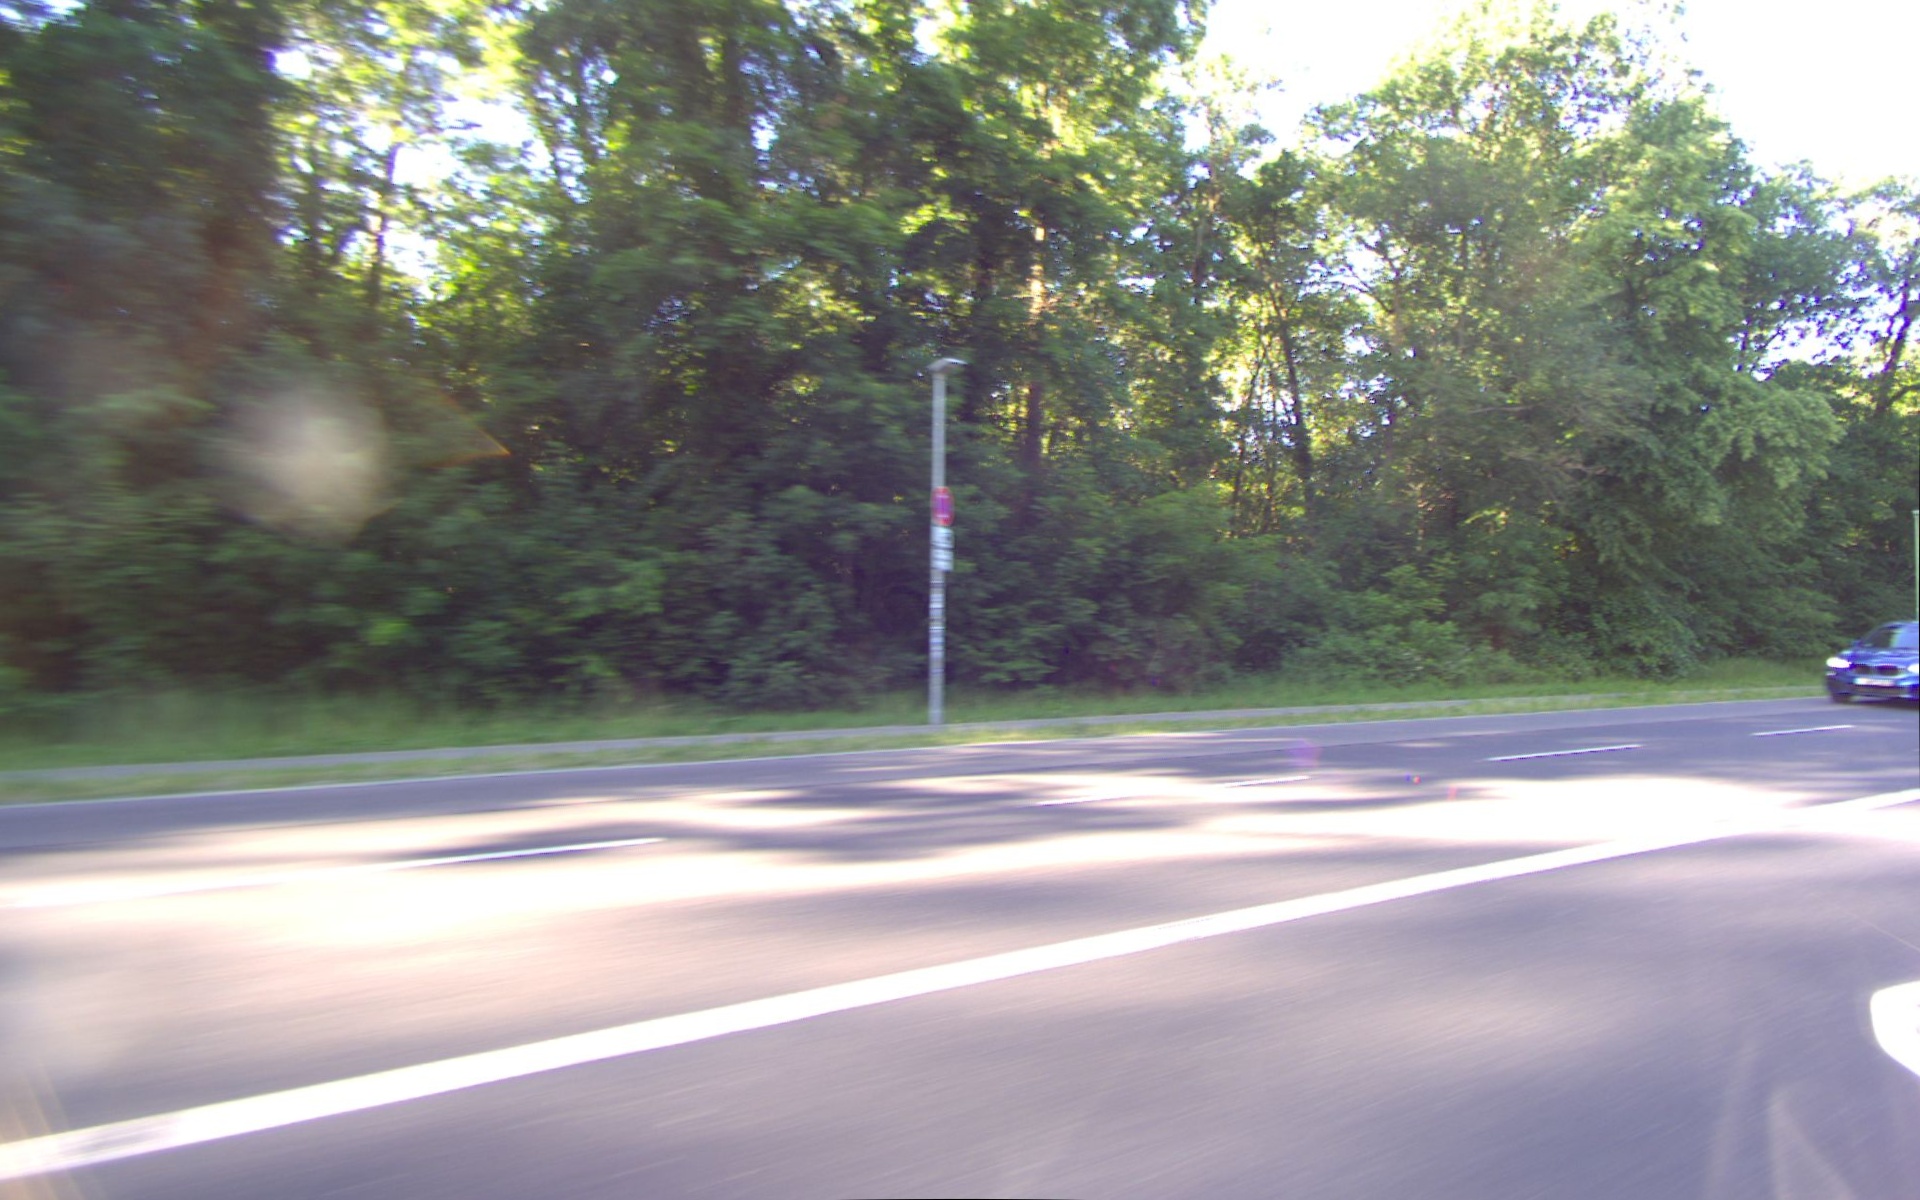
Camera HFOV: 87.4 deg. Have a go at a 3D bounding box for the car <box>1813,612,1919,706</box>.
[{"bbox_3d":[18.918,1.115,19.783,4.467,1.685,1.800,1,-1,-29],"label":"car"}]
